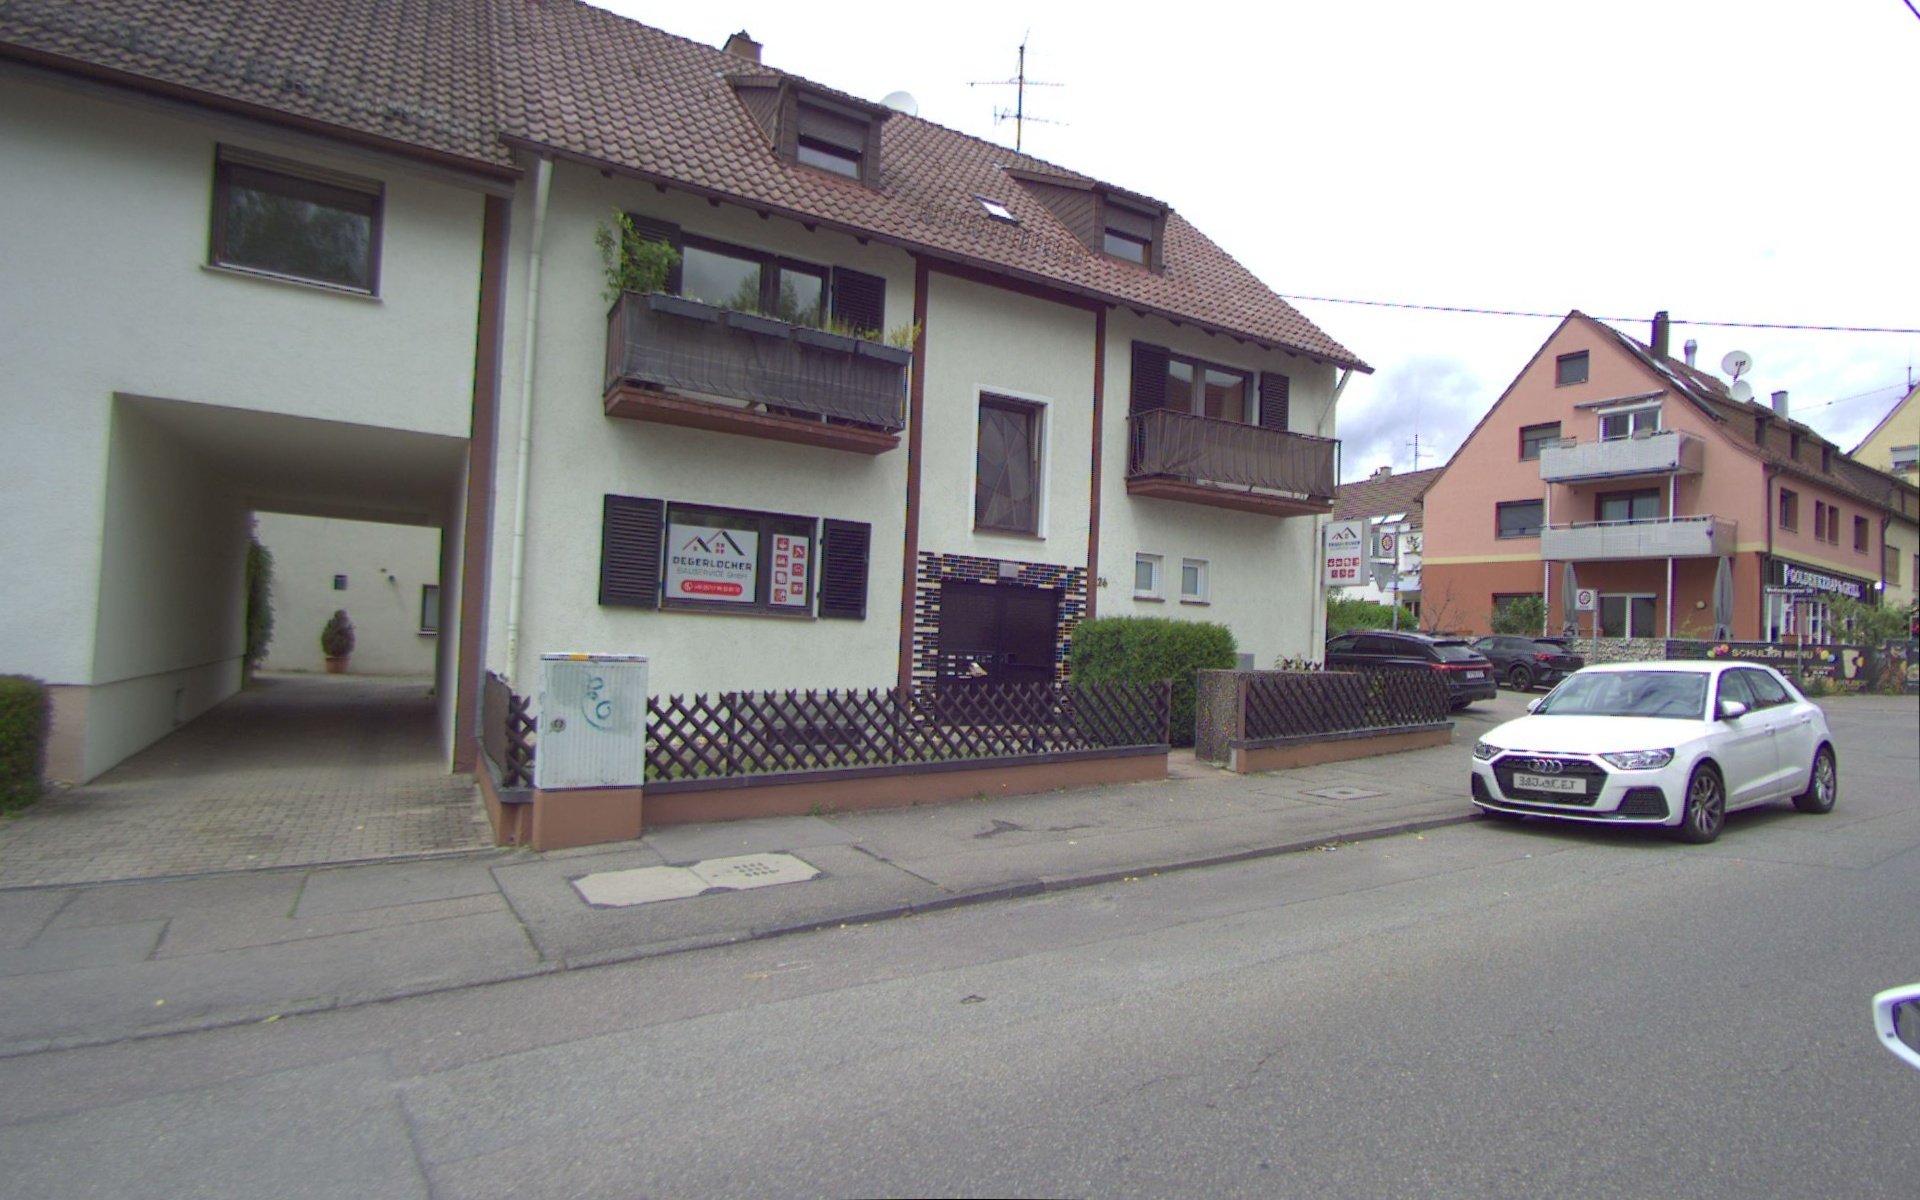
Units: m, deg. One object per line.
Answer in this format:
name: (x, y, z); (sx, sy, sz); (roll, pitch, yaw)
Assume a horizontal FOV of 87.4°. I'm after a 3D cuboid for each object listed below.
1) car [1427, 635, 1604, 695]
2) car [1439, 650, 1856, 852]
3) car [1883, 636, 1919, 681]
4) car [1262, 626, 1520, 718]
car: (15.660, 1.800, 28.618); (1.966, 1.491, 4.409); (3, -2, -13)
car: (6.328, 1.225, 9.168); (3.856, 1.477, 1.717); (2, -5, -32)
car: (34.870, 2.047, 34.588); (1.979, 1.491, 4.205); (5, -5, -33)
car: (8.444, 1.331, 20.118); (1.976, 1.492, 4.498); (1, 0, -29)
